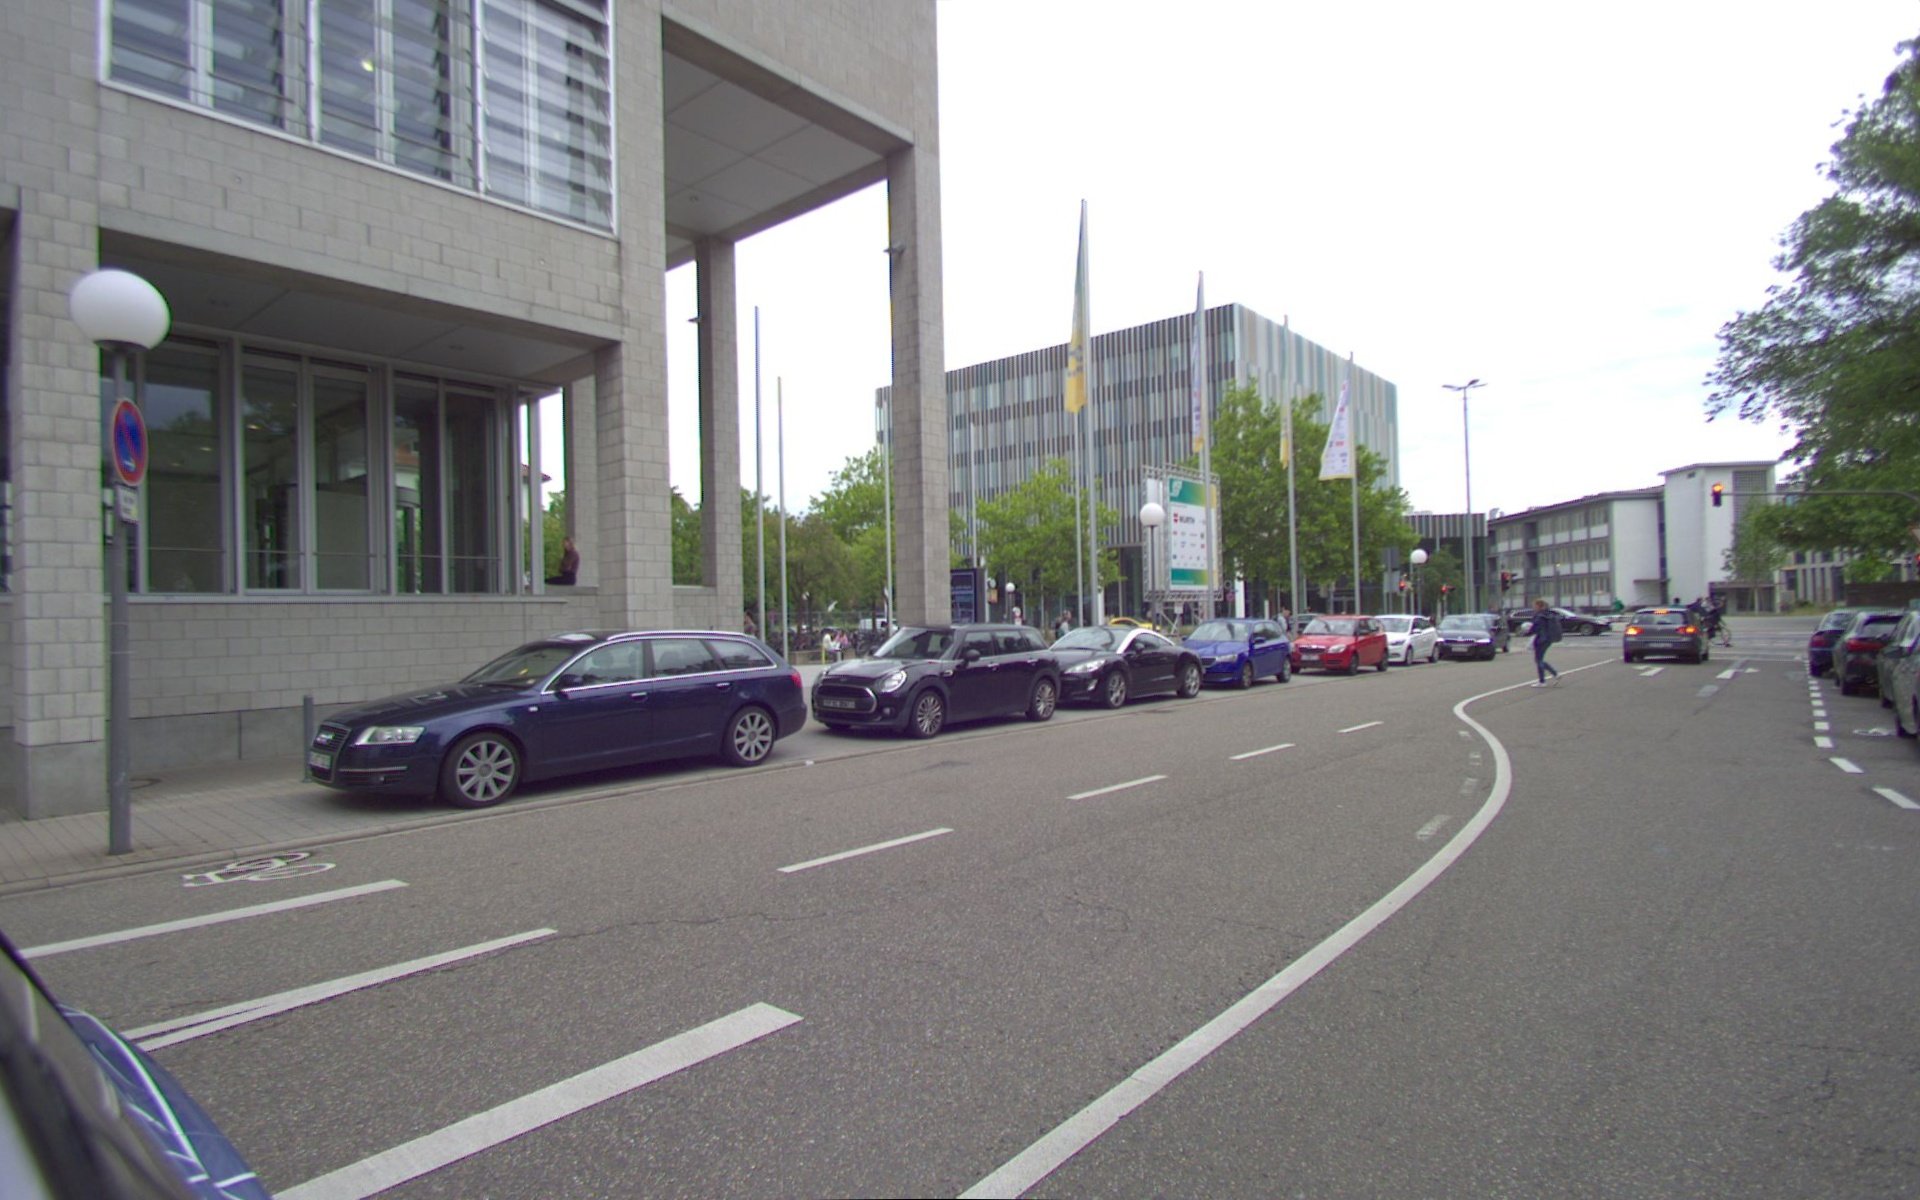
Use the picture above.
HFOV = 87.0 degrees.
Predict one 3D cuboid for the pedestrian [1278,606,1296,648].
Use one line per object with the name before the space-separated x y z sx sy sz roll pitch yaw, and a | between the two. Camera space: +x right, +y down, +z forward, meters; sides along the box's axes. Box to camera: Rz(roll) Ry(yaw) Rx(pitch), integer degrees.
pedestrian | 13.684 1.135 42.359 0.582 1.728 0.652 -3 -2 26

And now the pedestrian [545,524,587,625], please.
pedestrian | -6.859 -0.420 17.591 0.620 1.671 0.809 1 -4 -25

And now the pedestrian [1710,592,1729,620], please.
pedestrian | 47.180 0.393 62.864 0.614 1.677 0.574 -2 -2 -3

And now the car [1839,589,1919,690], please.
car | 16.438 0.634 17.459 1.802 1.573 4.469 -2 -2 40

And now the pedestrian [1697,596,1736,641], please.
pedestrian | 27.853 0.691 37.259 1.040 1.632 0.651 -2 -1 32

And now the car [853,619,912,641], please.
car | -6.574 2.555 85.571 4.834 1.675 1.974 -3 -2 39

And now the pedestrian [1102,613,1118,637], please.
pedestrian | 12.943 2.147 87.153 0.842 2.029 1.002 2 -5 -41

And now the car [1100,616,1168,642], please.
car | 11.891 1.985 69.368 4.192 1.630 1.973 -3 -2 41

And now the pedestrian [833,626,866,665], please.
pedestrian | -4.221 1.748 38.770 0.849 1.431 0.959 -3 -2 29

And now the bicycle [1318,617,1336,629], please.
bicycle | 31.400 1.971 86.567 0.476 0.943 2.014 -2 -2 -10

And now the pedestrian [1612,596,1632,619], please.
pedestrian | 51.084 0.607 78.136 0.935 1.727 0.909 -2 0 -28

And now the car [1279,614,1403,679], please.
car | 9.927 1.125 26.225 1.717 1.484 4.216 0 0 40

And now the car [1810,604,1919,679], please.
car | 19.705 0.827 21.818 1.804 1.419 4.274 -2 -1 44

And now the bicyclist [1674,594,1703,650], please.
bicyclist | 23.743 0.713 32.987 0.657 1.793 0.973 -2 -1 33

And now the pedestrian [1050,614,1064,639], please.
pedestrian | 8.106 2.194 84.551 0.852 2.029 0.991 -3 -4 30

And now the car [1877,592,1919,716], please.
car | 13.350 0.630 13.274 1.766 1.482 3.773 -2 -1 40

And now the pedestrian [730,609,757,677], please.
pedestrian | -5.595 1.116 26.138 0.637 1.726 0.784 -1 -3 -12

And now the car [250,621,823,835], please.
car | -3.850 1.015 10.010 1.999 1.463 4.856 -2 -1 40

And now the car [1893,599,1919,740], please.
car | 10.431 0.678 9.760 1.767 1.422 3.956 -3 -2 39

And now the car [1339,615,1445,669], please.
car | 13.086 1.234 30.541 1.865 1.464 3.807 -3 -1 40

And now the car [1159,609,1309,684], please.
car | 6.088 0.948 22.162 1.698 1.422 4.322 -1 0 37

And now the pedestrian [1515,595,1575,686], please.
pedestrian | 11.203 0.762 19.372 0.953 1.674 0.741 1 -2 -44

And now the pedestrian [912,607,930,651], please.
pedestrian | -1.674 1.223 43.263 0.662 1.847 0.512 -2 -1 -9

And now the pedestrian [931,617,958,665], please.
pedestrian | -0.563 1.454 36.325 0.745 1.682 0.707 -1 -2 -17

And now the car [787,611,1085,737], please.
car | -0.171 0.912 14.440 1.822 1.454 4.461 0 0 39

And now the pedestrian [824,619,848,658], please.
pedestrian | -4.618 1.422 37.838 0.666 1.424 0.767 -2 -1 9

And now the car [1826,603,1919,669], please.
car | 23.154 0.870 25.586 1.803 1.480 4.189 -2 -1 42

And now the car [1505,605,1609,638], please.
car | 30.575 1.102 51.856 4.289 1.500 1.973 -3 -1 40

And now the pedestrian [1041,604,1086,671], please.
pedestrian | 2.625 0.955 25.641 0.736 1.653 0.919 -4 -5 39

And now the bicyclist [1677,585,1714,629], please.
bicyclist | 28.256 0.292 38.893 0.861 1.653 0.871 -2 -2 17

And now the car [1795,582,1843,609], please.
car | 73.612 -0.366 86.725 4.331 1.594 2.004 8 -14 -37

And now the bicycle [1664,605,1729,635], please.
bicycle | 28.259 0.784 38.881 1.786 1.101 0.871 -2 -2 18

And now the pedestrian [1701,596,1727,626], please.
pedestrian | 46.419 0.698 62.316 0.834 1.802 0.895 -2 -2 -2

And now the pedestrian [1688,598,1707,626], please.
pedestrian | 45.464 0.742 62.422 0.610 1.679 0.624 -2 -2 2

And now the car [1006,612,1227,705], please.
car | 2.914 1.003 18.150 1.853 1.453 4.358 -3 -3 41

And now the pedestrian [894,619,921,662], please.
pedestrian | -2.161 1.661 41.691 0.845 1.717 0.963 -1 -1 17

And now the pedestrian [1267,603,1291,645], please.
pedestrian | 13.204 0.991 41.892 0.673 1.728 0.669 -2 -1 40

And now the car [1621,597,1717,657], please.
car | 19.662 0.713 28.002 1.787 1.508 4.112 -2 -1 40

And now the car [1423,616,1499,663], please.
car | 16.659 1.279 33.844 1.854 1.412 4.445 -3 -2 22

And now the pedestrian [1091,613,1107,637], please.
pedestrian | 12.096 2.156 88.090 0.842 2.029 1.002 2 -5 -41

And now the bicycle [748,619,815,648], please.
bicycle | -7.807 1.448 44.394 0.747 1.179 3.064 -3 -2 42
